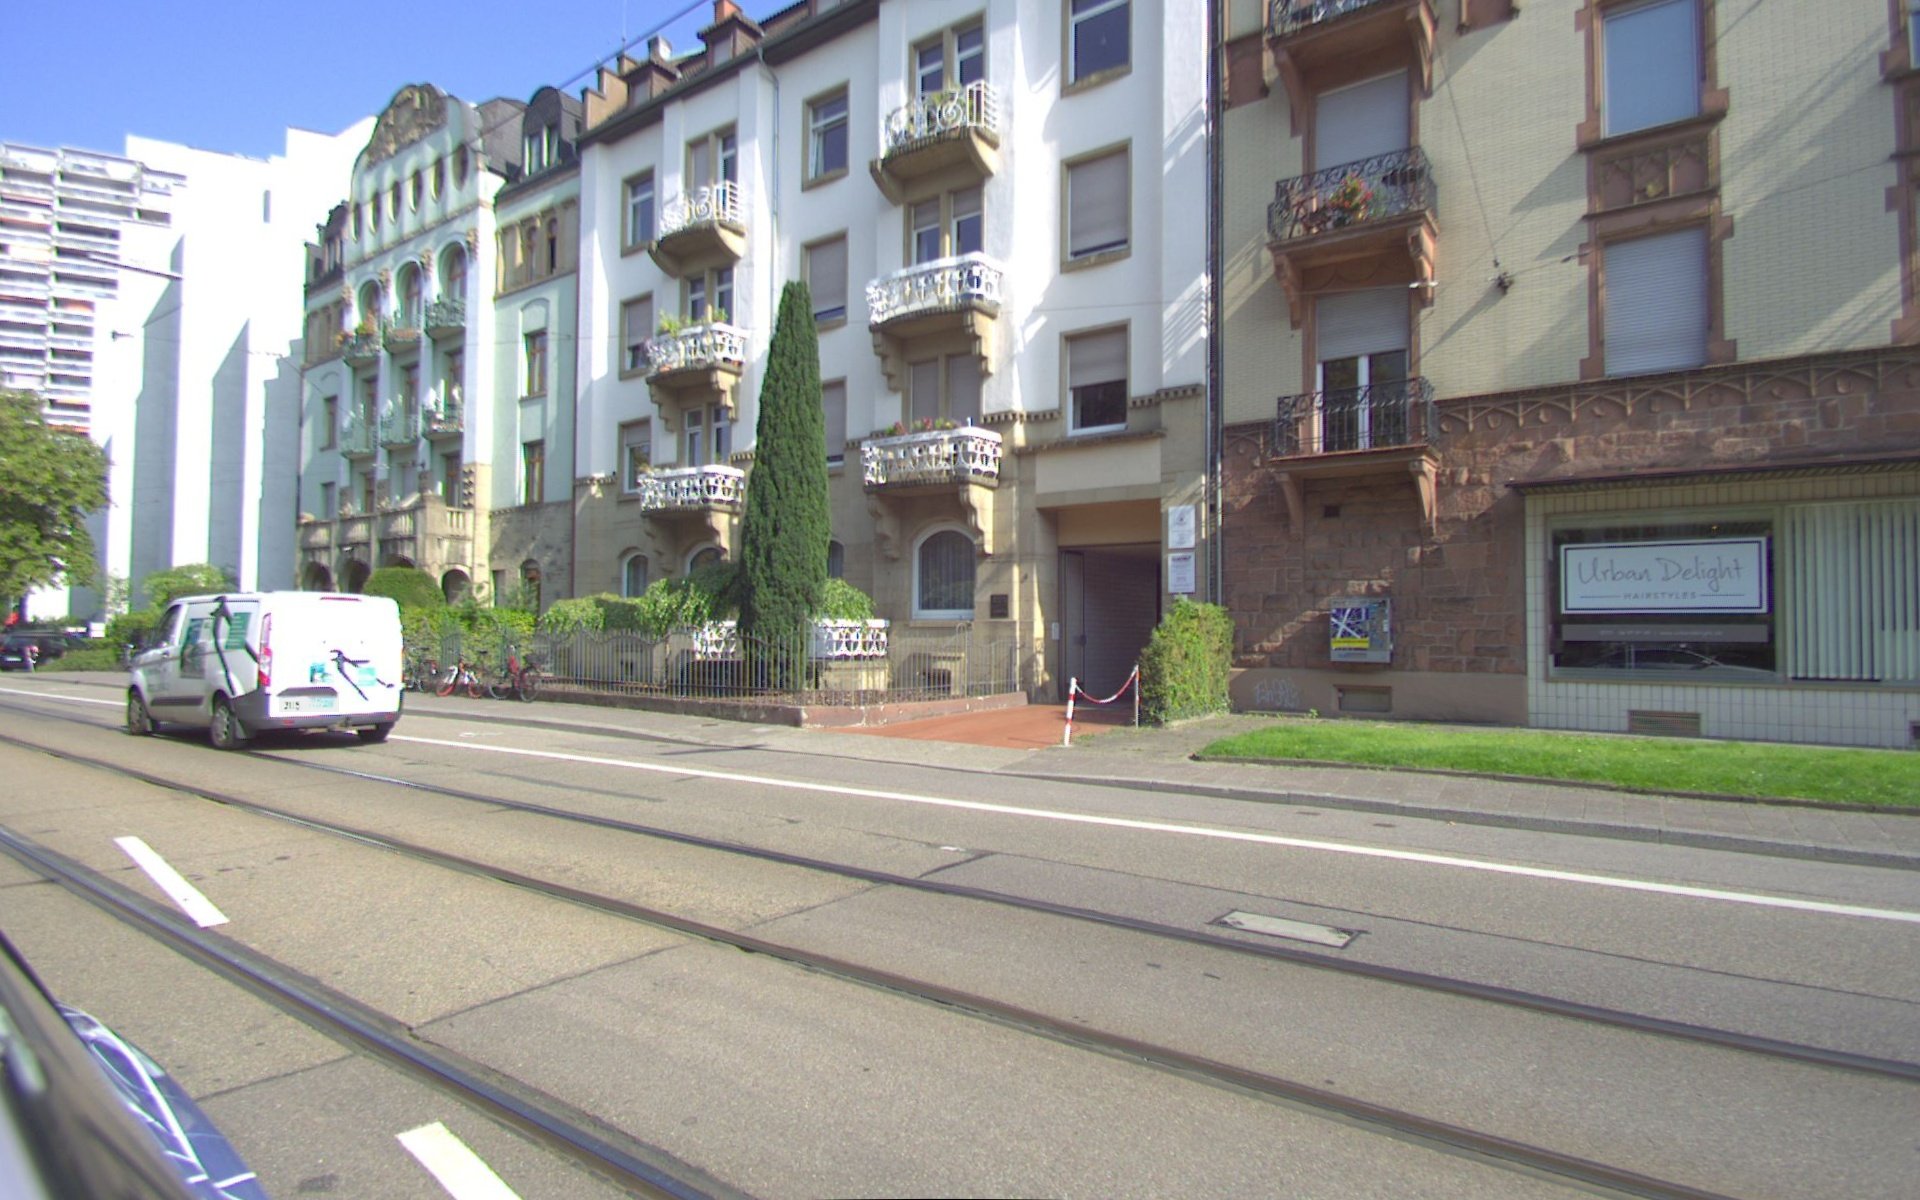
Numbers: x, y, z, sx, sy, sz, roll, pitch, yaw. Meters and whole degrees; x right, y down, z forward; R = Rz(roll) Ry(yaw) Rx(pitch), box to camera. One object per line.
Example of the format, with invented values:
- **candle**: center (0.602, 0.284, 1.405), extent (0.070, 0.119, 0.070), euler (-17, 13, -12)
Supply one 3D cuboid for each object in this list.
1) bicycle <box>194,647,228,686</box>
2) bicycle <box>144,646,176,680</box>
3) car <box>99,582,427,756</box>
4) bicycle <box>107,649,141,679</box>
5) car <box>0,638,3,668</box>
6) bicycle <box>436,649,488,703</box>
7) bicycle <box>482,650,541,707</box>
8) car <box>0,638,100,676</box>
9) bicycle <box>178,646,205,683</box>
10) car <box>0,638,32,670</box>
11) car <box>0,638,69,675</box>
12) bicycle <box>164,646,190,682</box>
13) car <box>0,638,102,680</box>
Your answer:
- **bicycle**: center (-22.126, 1.948, 29.875), extent (1.675, 1.096, 0.420), euler (-2, -3, 41)
- **bicycle**: center (-25.998, 2.033, 32.895), extent (1.674, 1.096, 0.420), euler (-2, -3, 39)
- **car**: center (-9.704, 0.918, 13.990), extent (4.845, 2.029, 1.977), euler (-1, -5, 33)
- **bicycle**: center (-28.739, 2.199, 34.775), extent (1.766, 0.985, 0.421), euler (-2, -3, 35)
- **car**: center (-49.551, 2.616, 49.810), extent (1.743, 1.539, 4.010), euler (1, -3, -13)
- **bicycle**: center (-10.455, 1.582, 21.251), extent (1.352, 1.096, 0.367), euler (-2, -3, 36)
- **bicycle**: center (-8.981, 1.553, 20.266), extent (1.485, 1.096, 0.367), euler (-2, -3, 36)
- **car**: center (-38.578, 2.362, 42.571), extent (1.744, 1.539, 4.007), euler (1, -3, -8)
- **bicycle**: center (-23.720, 1.985, 31.242), extent (0.419, 1.096, 1.677), euler (3, -4, -45)
- **car**: center (-46.933, 2.598, 48.570), extent (1.743, 1.539, 4.010), euler (1, -3, -13)
- **car**: center (-41.058, 2.417, 43.981), extent (1.743, 1.539, 4.010), euler (1, -3, -13)
- **bicycle**: center (-24.457, 1.987, 31.602), extent (0.419, 1.096, 1.677), euler (3, -4, -45)
- **car**: center (-35.943, 2.292, 39.761), extent (1.743, 1.539, 4.010), euler (1, -3, -13)
